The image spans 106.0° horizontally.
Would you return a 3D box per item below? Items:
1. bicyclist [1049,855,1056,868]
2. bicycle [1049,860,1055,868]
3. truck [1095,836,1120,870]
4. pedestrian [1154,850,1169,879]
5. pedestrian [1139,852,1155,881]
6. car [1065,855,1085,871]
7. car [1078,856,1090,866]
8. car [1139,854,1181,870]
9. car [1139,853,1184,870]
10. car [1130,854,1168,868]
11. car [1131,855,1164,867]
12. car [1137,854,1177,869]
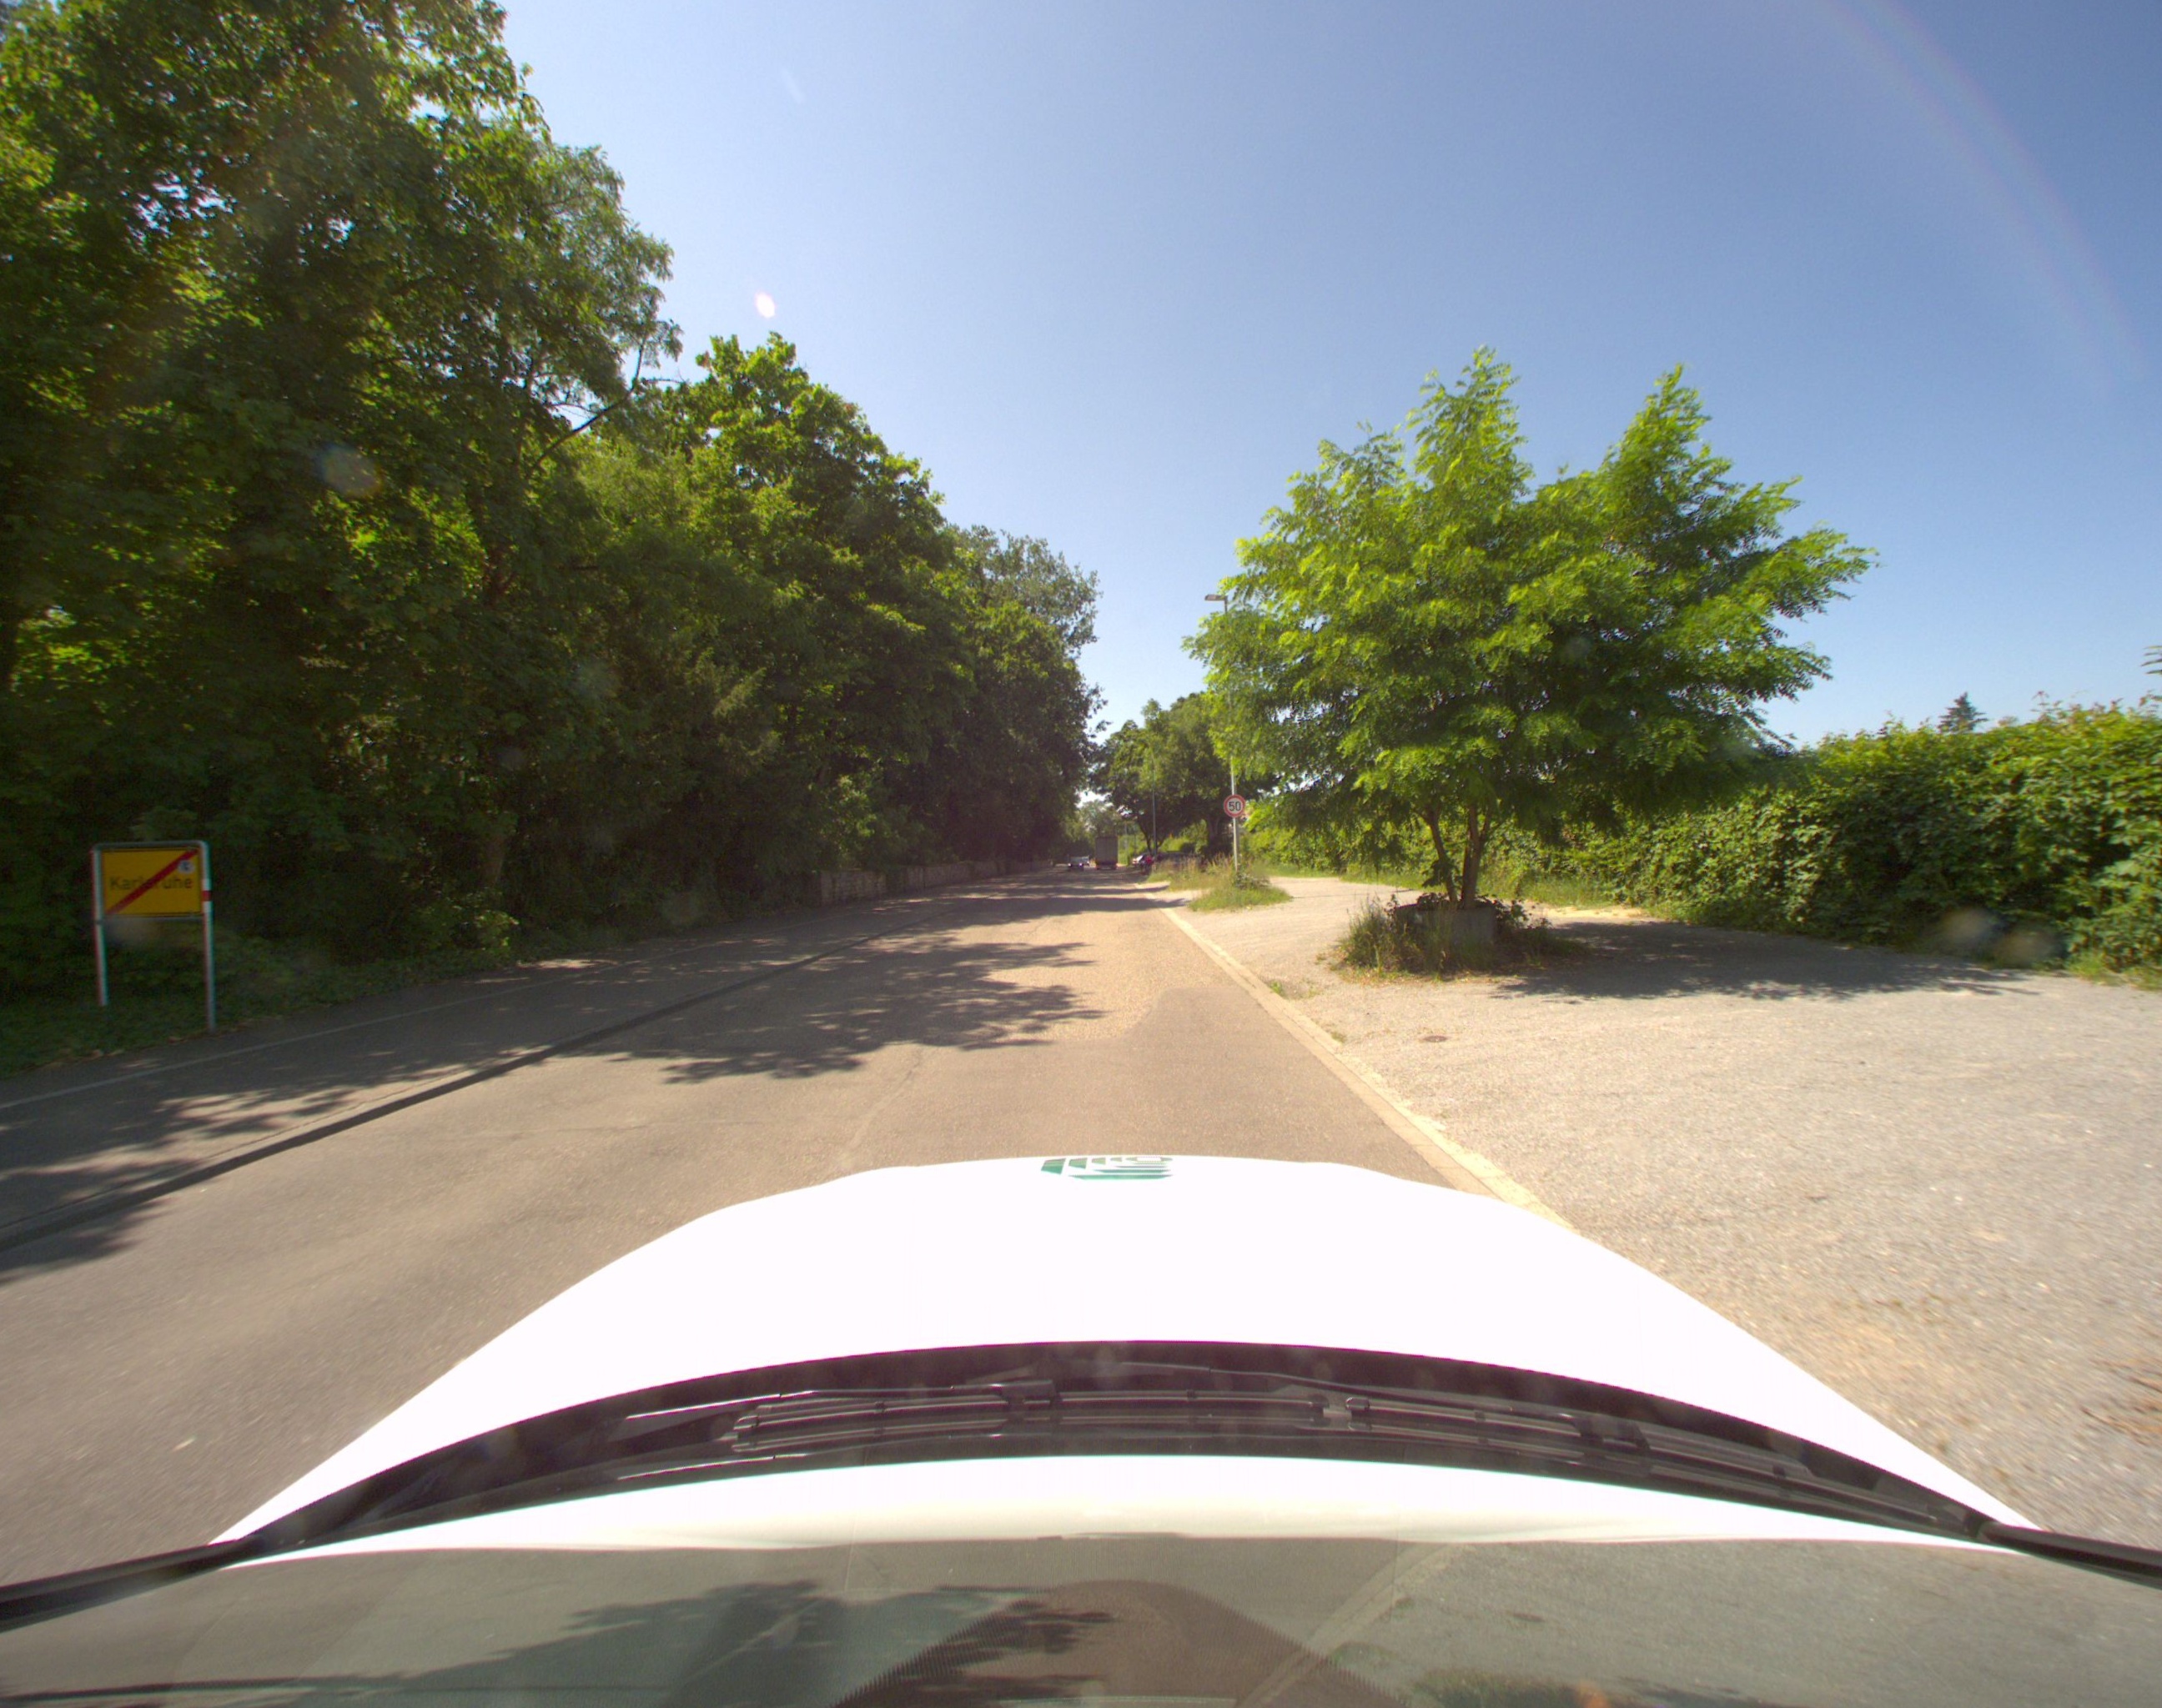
[{"bbox_3d":[-4.101,1.044,115.814,0.829,1.716,0.958,-2,0,2],"label":"bicyclist"},{"bbox_3d":[-4.085,1.432,115.801,0.715,1.159,2.231,-2,0,2],"label":"bicycle"},{"bbox_3d":[3.179,-0.119,97.155,2.723,3.746,13.251,-1,0,2],"label":"truck"},{"bbox_3d":[5.085,0.653,51.498,0.736,1.738,0.885,-2,0,0],"label":"pedestrian"},{"bbox_3d":[4.050,0.764,50.093,0.860,1.677,0.885,-2,0,0],"label":"pedestrian"},{"bbox_3d":[-0.612,0.948,91.979,1.986,1.684,4.264,-2,0,2],"label":"car"},{"bbox_3d":[0.612,1.211,147.259,1.986,1.684,4.264,-2,0,2],"label":"car"},{"bbox_3d":[8.049,0.781,83.099,4.180,1.445,1.739,-2,0,2],"label":"car"},{"bbox_3d":[7.859,0.722,79.560,4.180,1.445,1.739,-2,0,2],"label":"car"},{"bbox_3d":[7.830,0.787,93.861,4.180,1.445,1.739,-2,0,2],"label":"car"},{"bbox_3d":[8.757,0.943,107.679,4.180,1.445,1.739,-2,0,2],"label":"car"},{"bbox_3d":[8.322,0.796,89.498,4.180,1.445,1.739,-2,0,2],"label":"car"}]
